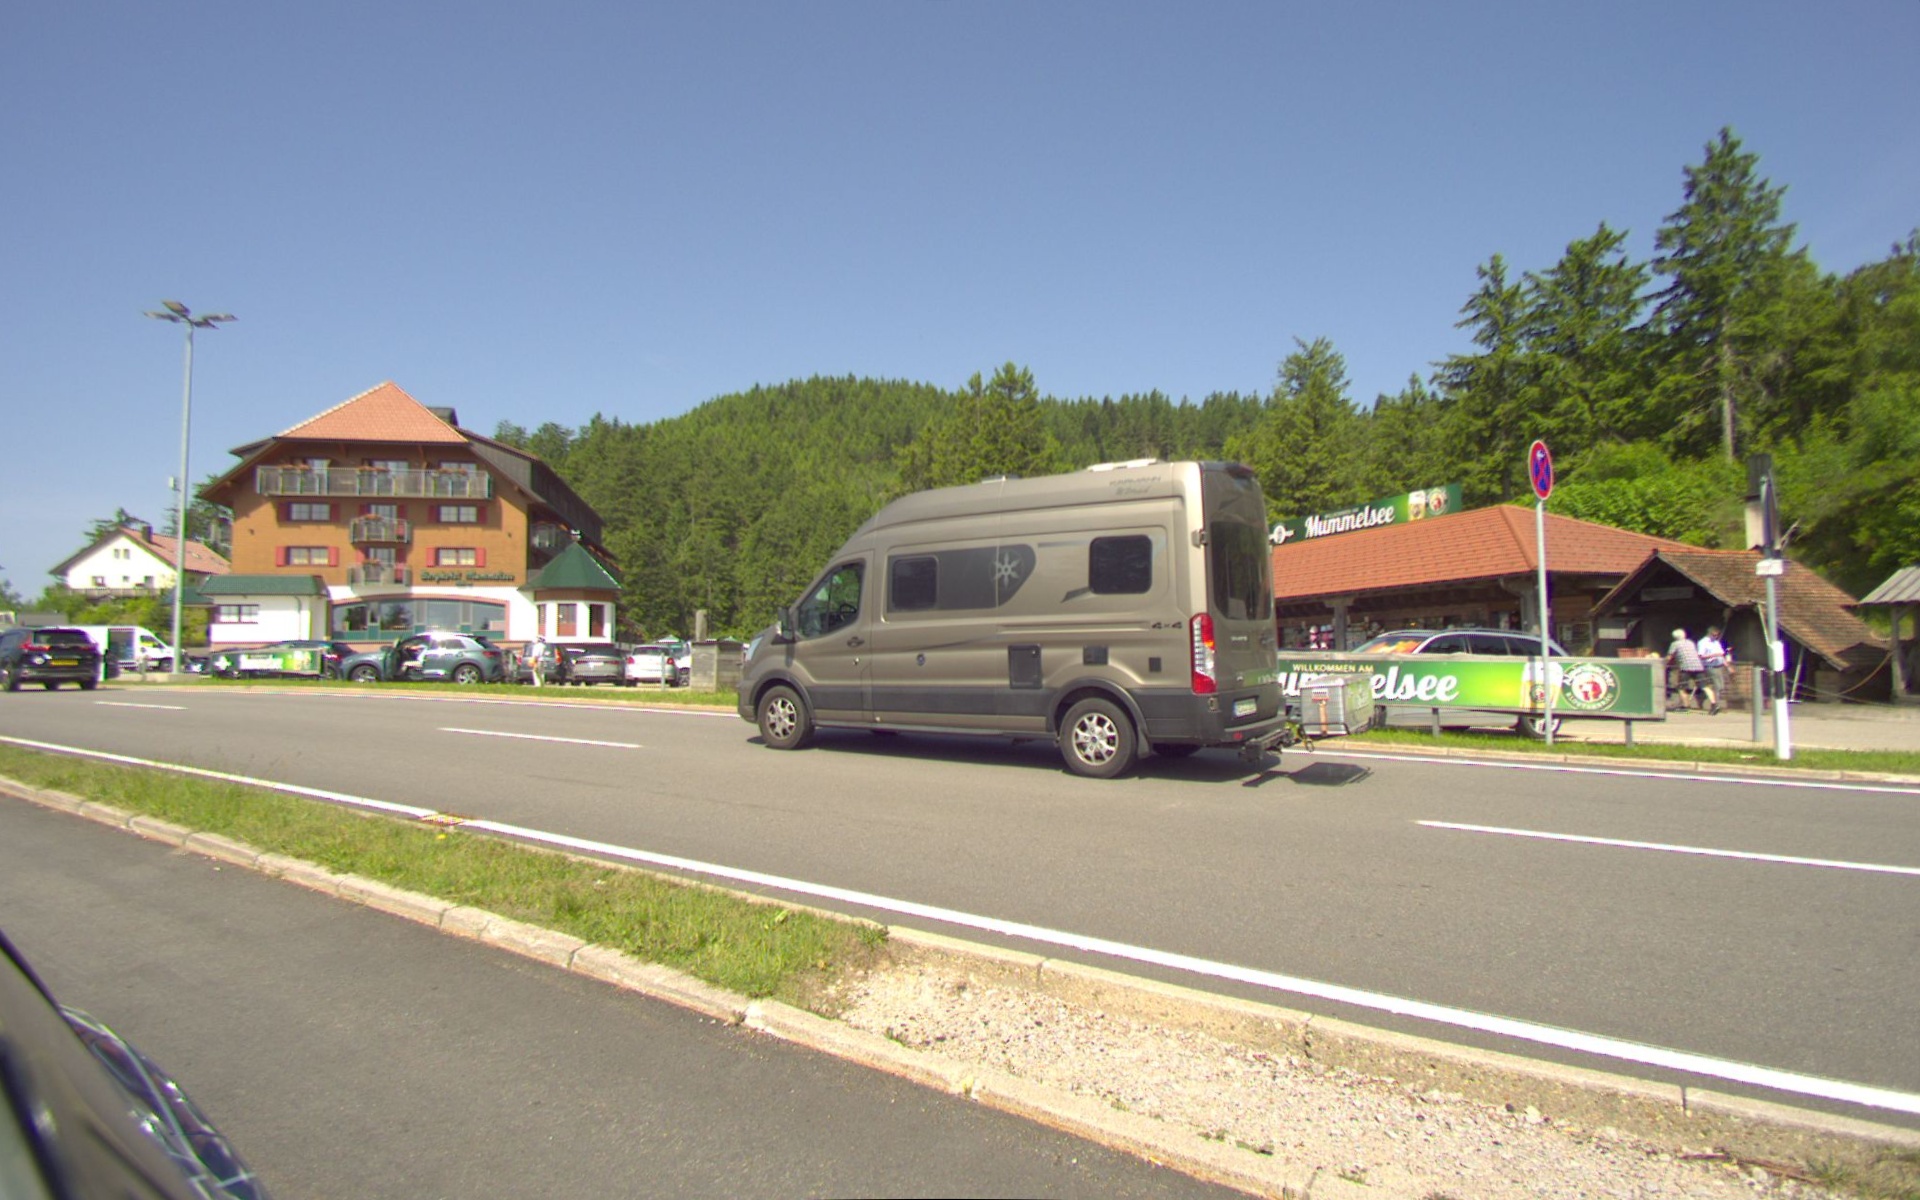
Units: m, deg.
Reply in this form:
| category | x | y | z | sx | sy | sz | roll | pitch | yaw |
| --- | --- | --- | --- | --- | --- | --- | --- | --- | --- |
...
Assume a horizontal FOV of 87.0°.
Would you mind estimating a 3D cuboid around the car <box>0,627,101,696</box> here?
| category | x | y | z | sx | sy | sz | roll | pitch | yaw |
| --- | --- | --- | --- | --- | --- | --- | --- | --- | --- |
| car | -24.595 | 1.593 | 26.738 | 4.116 | 1.695 | 1.703 | -2 | -3 | 32 |

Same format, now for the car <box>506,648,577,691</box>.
| category | x | y | z | sx | sy | sz | roll | pitch | yaw |
| --- | --- | --- | --- | --- | --- | --- | --- | --- | --- |
| car | -15.742 | 2.603 | 38.262 | 1.794 | 1.524 | 4.105 | 1 | -3 | -13 |

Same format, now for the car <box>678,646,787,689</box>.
| category | x | y | z | sx | sy | sz | roll | pitch | yaw |
| --- | --- | --- | --- | --- | --- | --- | --- | --- | --- |
| car | -8.894 | 2.628 | 39.531 | 4.025 | 1.641 | 1.829 | 1 | -3 | -15 |

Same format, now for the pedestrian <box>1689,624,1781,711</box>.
| category | x | y | z | sx | sy | sz | roll | pitch | yaw |
| --- | --- | --- | --- | --- | --- | --- | --- | --- | --- |
| pedestrian | 15.817 | 1.368 | 20.676 | 0.962 | 1.711 | 1.166 | 2 | -3 | -29 |

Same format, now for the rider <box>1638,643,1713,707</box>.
| category | x | y | z | sx | sy | sz | roll | pitch | yaw |
| --- | --- | --- | --- | --- | --- | --- | --- | --- | --- |
| rider | 14.724 | 1.529 | 20.862 | 0.826 | 1.284 | 0.910 | 0 | -2 | -5 |

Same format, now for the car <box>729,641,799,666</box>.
| category | x | y | z | sx | sy | sz | roll | pitch | yaw |
| --- | --- | --- | --- | --- | --- | --- | --- | --- | --- |
| car | -13.973 | 3.820 | 72.060 | 4.764 | 1.729 | 1.925 | 1 | -3 | -14 |

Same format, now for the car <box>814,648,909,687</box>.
| category | x | y | z | sx | sy | sz | roll | pitch | yaw |
| --- | --- | --- | --- | --- | --- | --- | --- | --- | --- |
| car | -4.567 | 3.104 | 46.763 | 4.024 | 1.729 | 1.926 | 1 | -3 | -17 |

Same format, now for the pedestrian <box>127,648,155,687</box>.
| category | x | y | z | sx | sy | sz | roll | pitch | yaw |
| --- | --- | --- | --- | --- | --- | --- | --- | --- | --- |
| pedestrian | -39.423 | 3.237 | 48.719 | 0.664 | 1.878 | 0.751 | 0 | -3 | -1 |

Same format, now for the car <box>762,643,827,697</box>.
| category | x | y | z | sx | sy | sz | roll | pitch | yaw |
| --- | --- | --- | --- | --- | --- | --- | --- | --- | --- |
| car | -5.424 | 2.228 | 32.824 | 1.794 | 1.641 | 4.105 | 1 | -3 | -13 |

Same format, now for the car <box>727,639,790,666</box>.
| category | x | y | z | sx | sy | sz | roll | pitch | yaw |
| --- | --- | --- | --- | --- | --- | --- | --- | --- | --- |
| car | -13.532 | 3.518 | 67.967 | 4.026 | 1.729 | 1.925 | 1 | -3 | -14 |

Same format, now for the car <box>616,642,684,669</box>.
| category | x | y | z | sx | sy | sz | roll | pitch | yaw |
| --- | --- | --- | --- | --- | --- | --- | --- | --- | --- |
| car | -19.981 | 3.592 | 65.387 | 4.026 | 1.729 | 1.925 | 1 | -3 | -14 |

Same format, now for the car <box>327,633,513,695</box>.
| category | x | y | z | sx | sy | sz | roll | pitch | yaw |
| --- | --- | --- | --- | --- | --- | --- | --- | --- | --- |
| car | -14.801 | 1.759 | 28.002 | 4.199 | 1.641 | 1.829 | 1 | -3 | -15 |

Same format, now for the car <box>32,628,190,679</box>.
| category | x | y | z | sx | sy | sz | roll | pitch | yaw |
| --- | --- | --- | --- | --- | --- | --- | --- | --- | --- |
| car | -49.317 | 3.098 | 59.045 | 6.855 | 2.812 | 2.671 | 2 | -3 | -40 |

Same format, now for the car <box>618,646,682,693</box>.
| category | x | y | z | sx | sy | sz | roll | pitch | yaw |
| --- | --- | --- | --- | --- | --- | --- | --- | --- | --- |
| car | -10.604 | 2.350 | 34.861 | 1.794 | 1.524 | 4.105 | 1 | -3 | -13 |

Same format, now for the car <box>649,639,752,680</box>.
| category | x | y | z | sx | sy | sz | roll | pitch | yaw |
| --- | --- | --- | --- | --- | --- | --- | --- | --- | --- |
| car | -10.760 | 2.484 | 41.963 | 4.025 | 1.641 | 1.829 | 1 | -3 | -15 |

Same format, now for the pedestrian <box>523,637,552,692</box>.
| category | x | y | z | sx | sy | sz | roll | pitch | yaw |
| --- | --- | --- | --- | --- | --- | --- | --- | --- | --- |
| pedestrian | -12.851 | 1.945 | 30.767 | 0.733 | 1.637 | 0.685 | 1 | -3 | -28 |

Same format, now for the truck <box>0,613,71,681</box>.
| category | x | y | z | sx | sy | sz | roll | pitch | yaw |
| --- | --- | --- | --- | --- | --- | --- | --- | --- | --- |
| truck | -56.977 | 2.874 | 60.456 | 2.834 | 3.850 | 9.045 | -1 | -2 | -21 |

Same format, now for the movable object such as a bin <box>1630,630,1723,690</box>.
| category | x | y | z | sx | sy | sz | roll | pitch | yaw |
| --- | --- | --- | --- | --- | --- | --- | --- | --- | --- |
| movable object such as a bin | 14.762 | 1.218 | 20.879 | 0.969 | 1.198 | 1.218 | 0 | -2 | -5 |

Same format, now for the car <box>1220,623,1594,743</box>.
| category | x | y | z | sx | sy | sz | roll | pitch | yaw |
| --- | --- | --- | --- | --- | --- | --- | --- | --- | --- |
| car | 5.925 | 1.079 | 13.552 | 4.427 | 1.441 | 1.726 | 1 | -3 | -14 |

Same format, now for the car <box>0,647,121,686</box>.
| category | x | y | z | sx | sy | sz | roll | pitch | yaw |
| --- | --- | --- | --- | --- | --- | --- | --- | --- | --- |
| car | -37.645 | 2.735 | 41.896 | 4.024 | 1.539 | 1.830 | 1 | -3 | -19 |

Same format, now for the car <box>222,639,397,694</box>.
| category | x | y | z | sx | sy | sz | roll | pitch | yaw |
| --- | --- | --- | --- | --- | --- | --- | --- | --- | --- |
| car | -20.143 | 2.069 | 31.533 | 4.199 | 1.641 | 1.829 | 1 | -3 | -15 |

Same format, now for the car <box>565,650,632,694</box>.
| category | x | y | z | sx | sy | sz | roll | pitch | yaw |
| --- | --- | --- | --- | --- | --- | --- | --- | --- | --- |
| car | -13.187 | 2.609 | 37.127 | 1.794 | 1.524 | 4.105 | 1 | -3 | -13 |

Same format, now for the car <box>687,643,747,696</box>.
| category | x | y | z | sx | sy | sz | roll | pitch | yaw |
| --- | --- | --- | --- | --- | --- | --- | --- | --- | --- |
| car | -8.022 | 2.256 | 33.518 | 1.794 | 1.641 | 4.105 | 1 | -3 | -13 |

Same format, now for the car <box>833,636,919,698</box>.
| category | x | y | z | sx | sy | sz | roll | pitch | yaw |
| --- | --- | --- | --- | --- | --- | --- | --- | --- | --- |
| car | -2.591 | 1.981 | 30.352 | 1.888 | 1.729 | 4.106 | 1 | -3 | -15 |

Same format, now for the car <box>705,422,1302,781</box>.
| category | x | y | z | sx | sy | sz | roll | pitch | yaw |
| --- | --- | --- | --- | --- | --- | --- | --- | --- | --- |
| car | 0.194 | 0.113 | 10.298 | 5.901 | 2.772 | 1.994 | -2 | -3 | 34 |

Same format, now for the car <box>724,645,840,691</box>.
| category | x | y | z | sx | sy | sz | roll | pitch | yaw |
| --- | --- | --- | --- | --- | --- | --- | --- | --- | --- |
| car | -6.594 | 2.488 | 37.411 | 4.025 | 1.641 | 1.829 | 1 | -3 | -15 |
